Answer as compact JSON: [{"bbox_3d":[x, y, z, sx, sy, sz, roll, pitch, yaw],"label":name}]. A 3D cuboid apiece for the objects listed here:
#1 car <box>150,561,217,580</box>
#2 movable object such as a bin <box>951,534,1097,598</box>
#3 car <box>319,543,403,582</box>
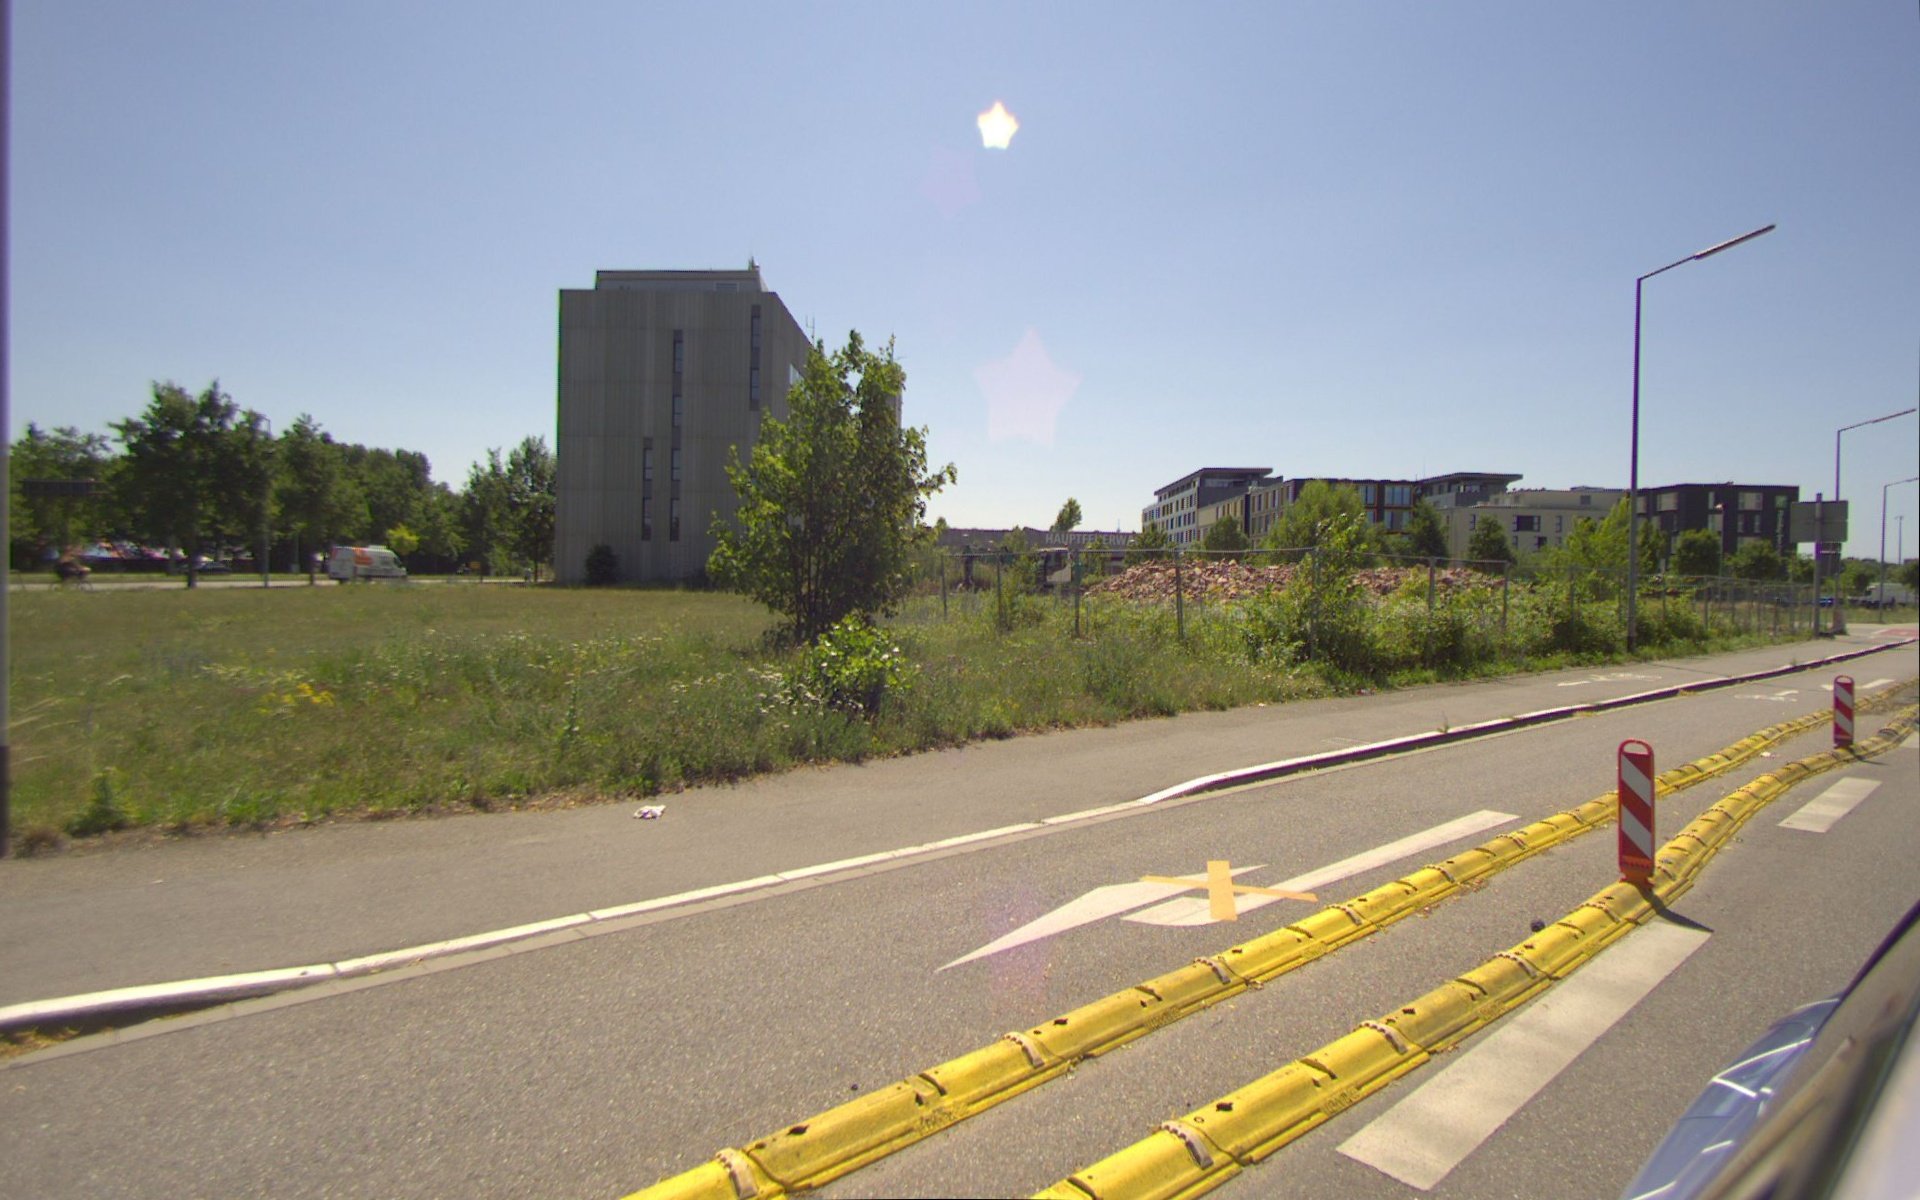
[{"bbox_3d":[-61.276,-2.304,79.970,1.830,1.440,4.407,1,1,2],"label":"car"},{"bbox_3d":[3.416,-1.716,53.086,7.458,3.188,2.815,-1,0,-34],"label":"movable object such as a bin"},{"bbox_3d":[-42.608,-2.631,72.184,2.220,2.622,6.394,0,0,0],"label":"car"}]
